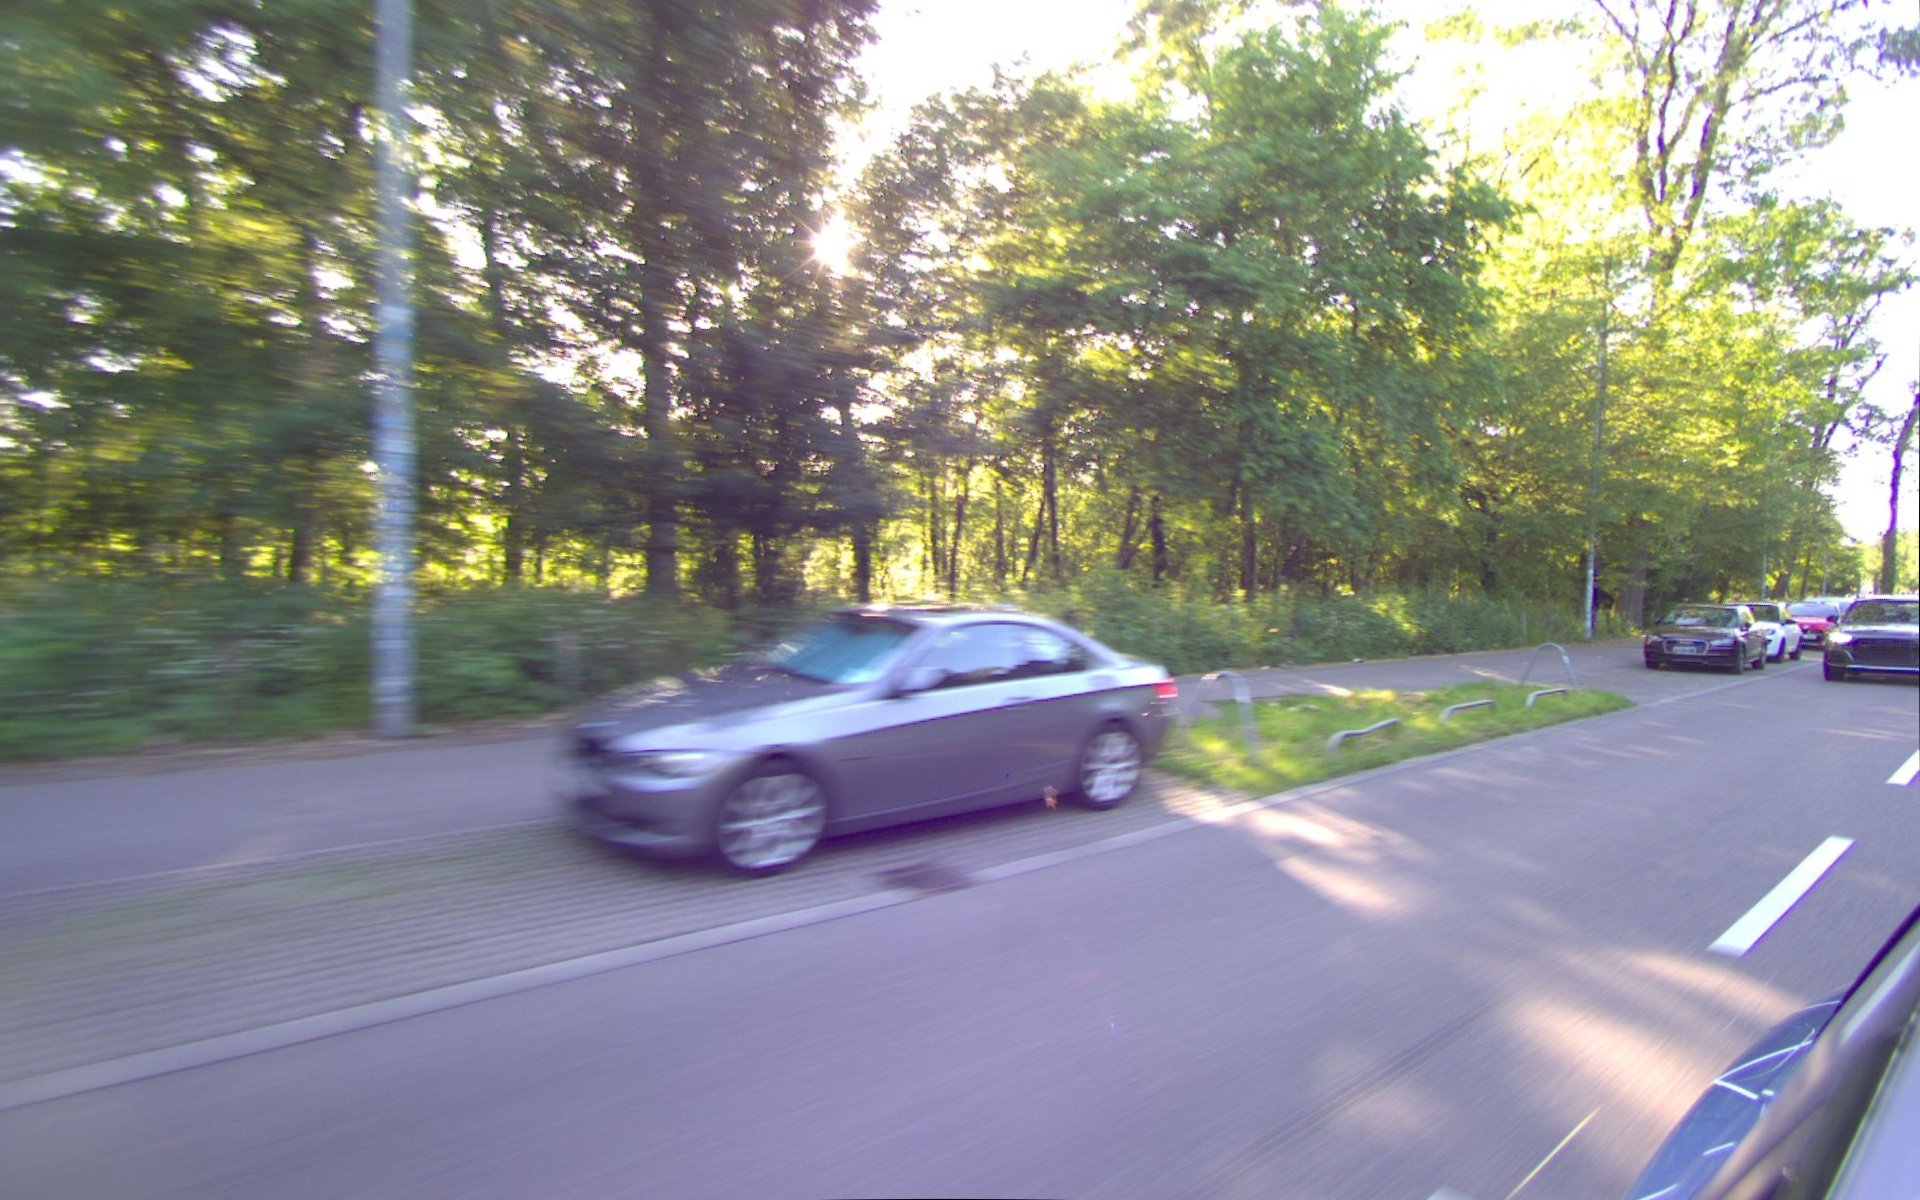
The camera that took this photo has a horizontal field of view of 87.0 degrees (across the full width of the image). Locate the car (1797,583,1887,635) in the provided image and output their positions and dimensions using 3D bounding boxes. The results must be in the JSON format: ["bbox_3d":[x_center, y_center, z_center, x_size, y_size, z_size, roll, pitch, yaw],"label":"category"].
[{"bbox_3d":[30.734,0.268,35.221,4.644,1.604,1.855,-1,4,-44],"label":"car"}]

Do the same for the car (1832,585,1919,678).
[{"bbox_3d":[18.435,0.552,19.623,3.932,1.638,1.859,0,2,-43],"label":"car"}]

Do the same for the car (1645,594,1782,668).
[{"bbox_3d":[16.285,0.594,21.815,3.880,1.409,1.737,-1,2,-44],"label":"car"}]

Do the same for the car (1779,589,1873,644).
[{"bbox_3d":[27.203,0.451,31.749,1.854,1.474,4.391,5,4,45],"label":"car"}]

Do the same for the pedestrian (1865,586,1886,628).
[{"bbox_3d":[39.959,0.292,44.168,0.509,1.778,0.727,2,2,33],"label":"pedestrian"}]

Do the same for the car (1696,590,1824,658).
[{"bbox_3d":[20.355,0.544,25.688,4.211,1.474,1.856,0,4,-43],"label":"car"}]

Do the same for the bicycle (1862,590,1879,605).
[{"bbox_3d":[66.245,-0.187,73.608,1.930,1.070,0.704,0,2,-42],"label":"bicycle"}]

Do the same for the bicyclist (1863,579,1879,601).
[{"bbox_3d":[66.255,-0.743,73.591,0.861,1.580,0.702,-1,3,-44],"label":"bicyclist"}]

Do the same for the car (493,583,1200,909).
[{"bbox_3d":[-0.520,0.655,6.821,4.442,1.408,1.857,0,4,-41],"label":"car"}]
